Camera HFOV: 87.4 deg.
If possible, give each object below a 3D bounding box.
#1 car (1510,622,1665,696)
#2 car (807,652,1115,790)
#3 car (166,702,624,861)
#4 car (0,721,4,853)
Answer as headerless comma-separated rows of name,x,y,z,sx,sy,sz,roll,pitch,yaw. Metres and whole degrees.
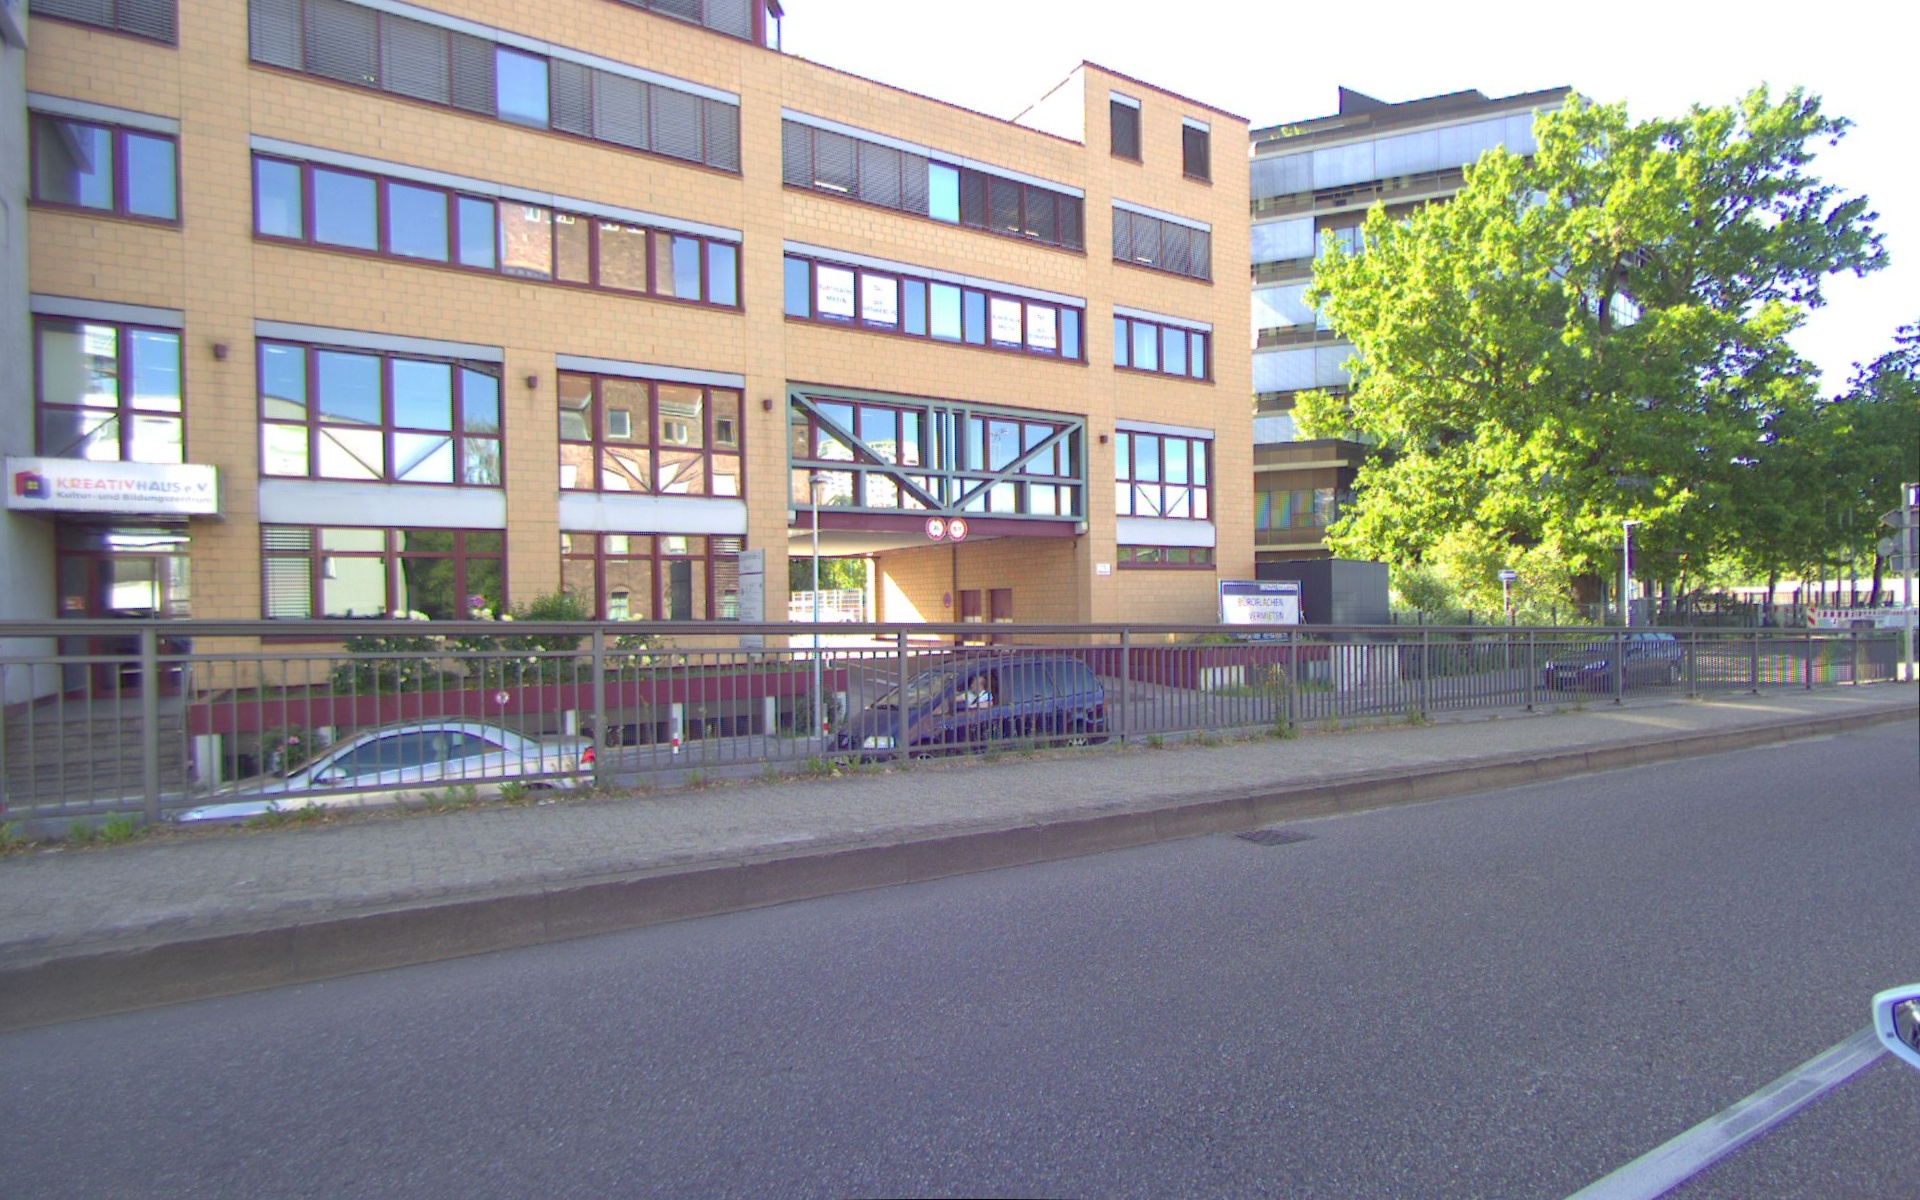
car,16.433,1.468,26.276,3.953,1.715,1.843,-1,0,-30
car,0.110,1.700,15.252,4.541,1.669,1.710,0,-2,-36
car,-6.152,1.901,11.336,4.210,1.181,1.713,0,-2,-32
car,-10.664,1.816,8.272,3.766,1.286,1.567,0,-2,-32
